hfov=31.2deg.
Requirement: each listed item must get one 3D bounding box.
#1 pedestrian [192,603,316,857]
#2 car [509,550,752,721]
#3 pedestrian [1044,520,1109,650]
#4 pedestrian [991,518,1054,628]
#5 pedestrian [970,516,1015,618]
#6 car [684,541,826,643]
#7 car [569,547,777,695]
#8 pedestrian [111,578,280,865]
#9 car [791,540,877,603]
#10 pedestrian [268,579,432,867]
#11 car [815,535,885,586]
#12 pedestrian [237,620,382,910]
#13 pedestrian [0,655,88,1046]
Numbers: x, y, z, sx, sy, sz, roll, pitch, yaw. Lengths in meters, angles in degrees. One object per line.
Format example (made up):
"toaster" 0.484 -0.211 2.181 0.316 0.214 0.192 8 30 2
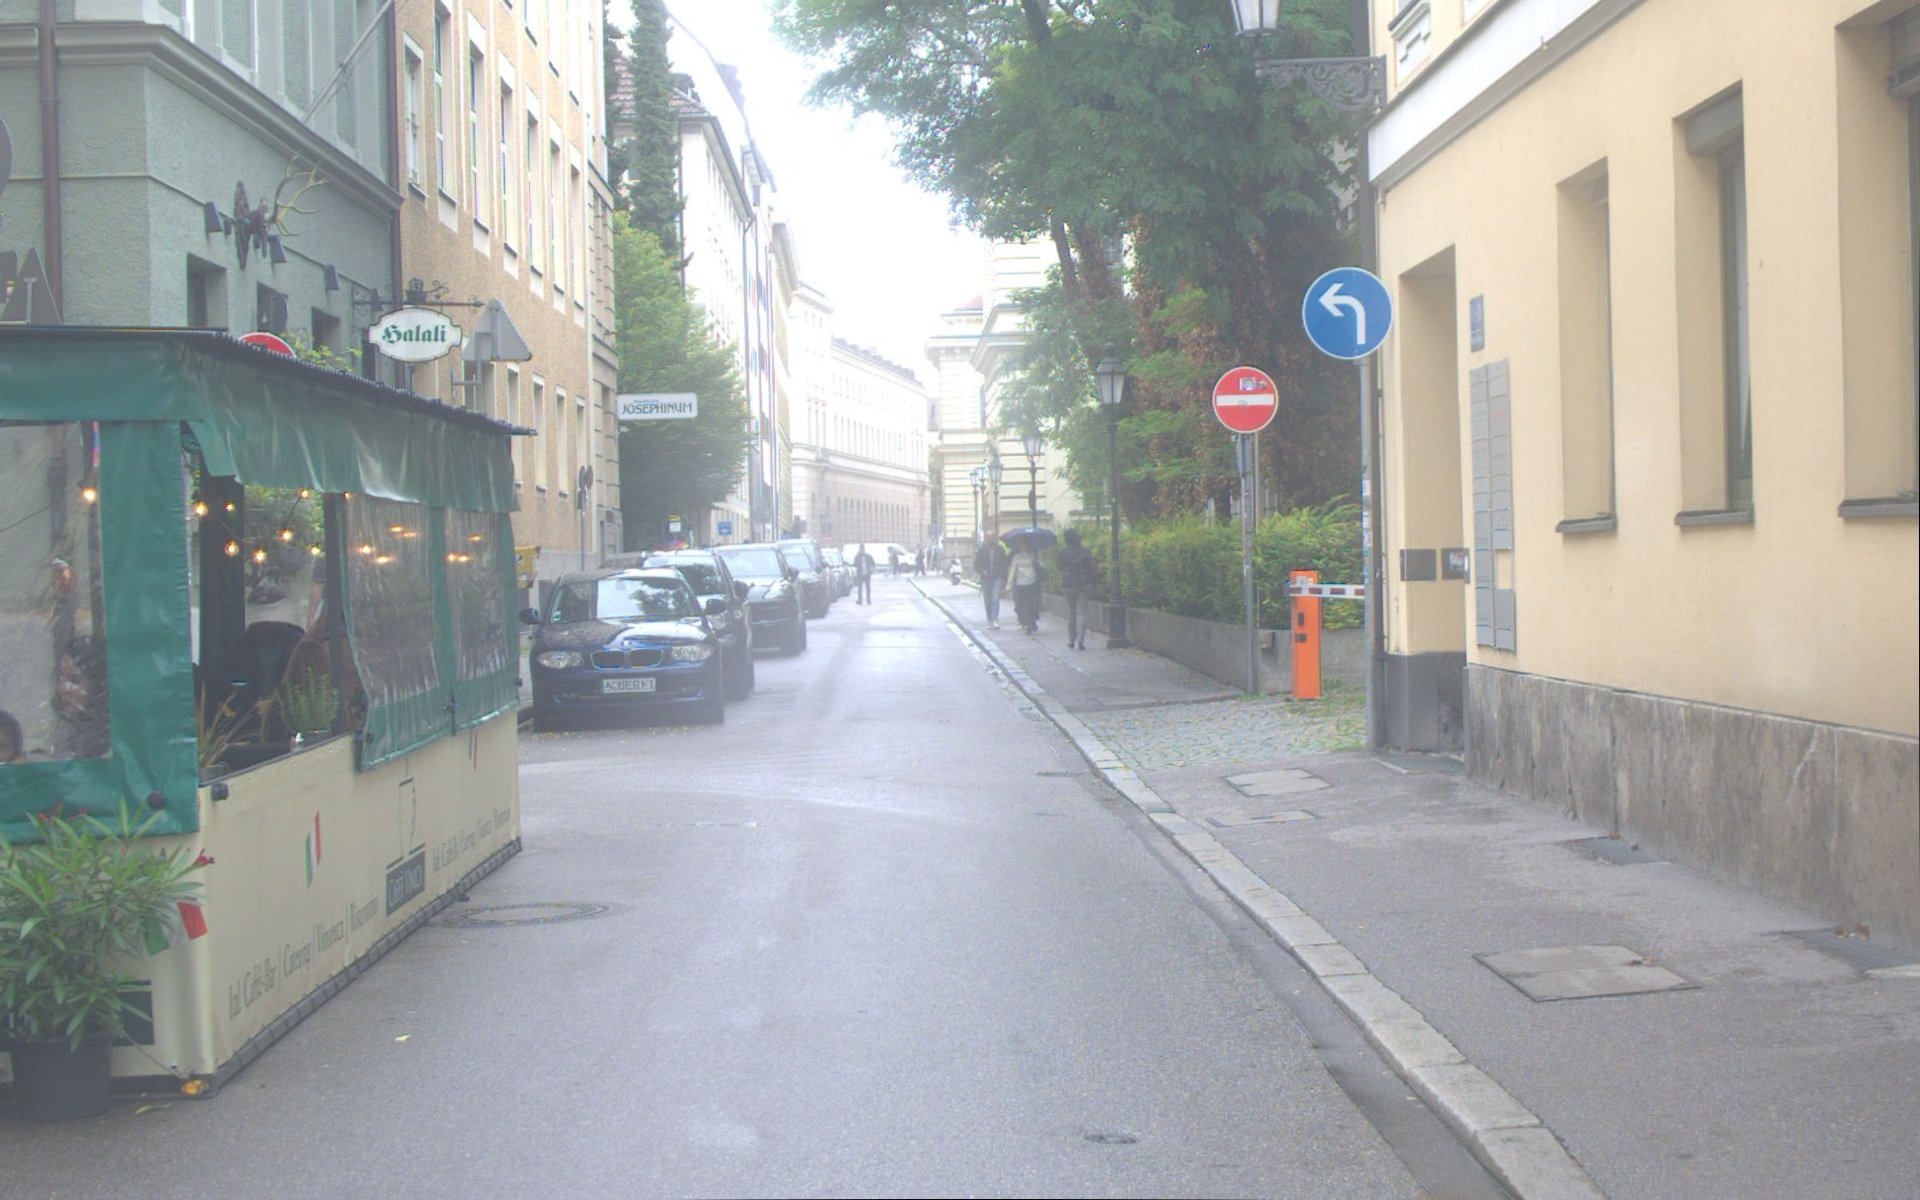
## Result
"pedestrian" -3.527 0.638 17.203 0.509 1.233 0.631 0 1 -3
"car" -2.961 0.282 31.569 1.779 1.461 3.663 0 1 2
"pedestrian" 1.624 -0.220 48.076 0.880 1.796 1.046 0 1 0
"pedestrian" 1.023 -0.456 56.951 1.015 1.796 1.349 0 1 0
"pedestrian" 0.574 -0.592 61.420 0.793 1.796 0.903 0 1 0
"car" -3.007 -0.141 51.036 1.779 1.461 3.542 0 1 2
"car" -2.962 0.181 36.081 1.779 1.461 3.542 0 1 2
"pedestrian" -3.621 0.562 16.323 0.673 1.322 0.696 0 1 -3
"car" -2.938 -0.685 80.765 1.779 1.461 3.542 0 1 2
"pedestrian" -2.867 0.565 16.206 0.673 1.322 0.696 0 1 -3
"car" -3.158 -1.148 99.260 1.779 1.461 3.542 0 1 2
"pedestrian" -2.713 0.676 14.380 0.509 1.171 0.631 0 1 -3
"pedestrian" -3.091 0.778 10.909 0.509 1.183 0.631 0 1 -3
